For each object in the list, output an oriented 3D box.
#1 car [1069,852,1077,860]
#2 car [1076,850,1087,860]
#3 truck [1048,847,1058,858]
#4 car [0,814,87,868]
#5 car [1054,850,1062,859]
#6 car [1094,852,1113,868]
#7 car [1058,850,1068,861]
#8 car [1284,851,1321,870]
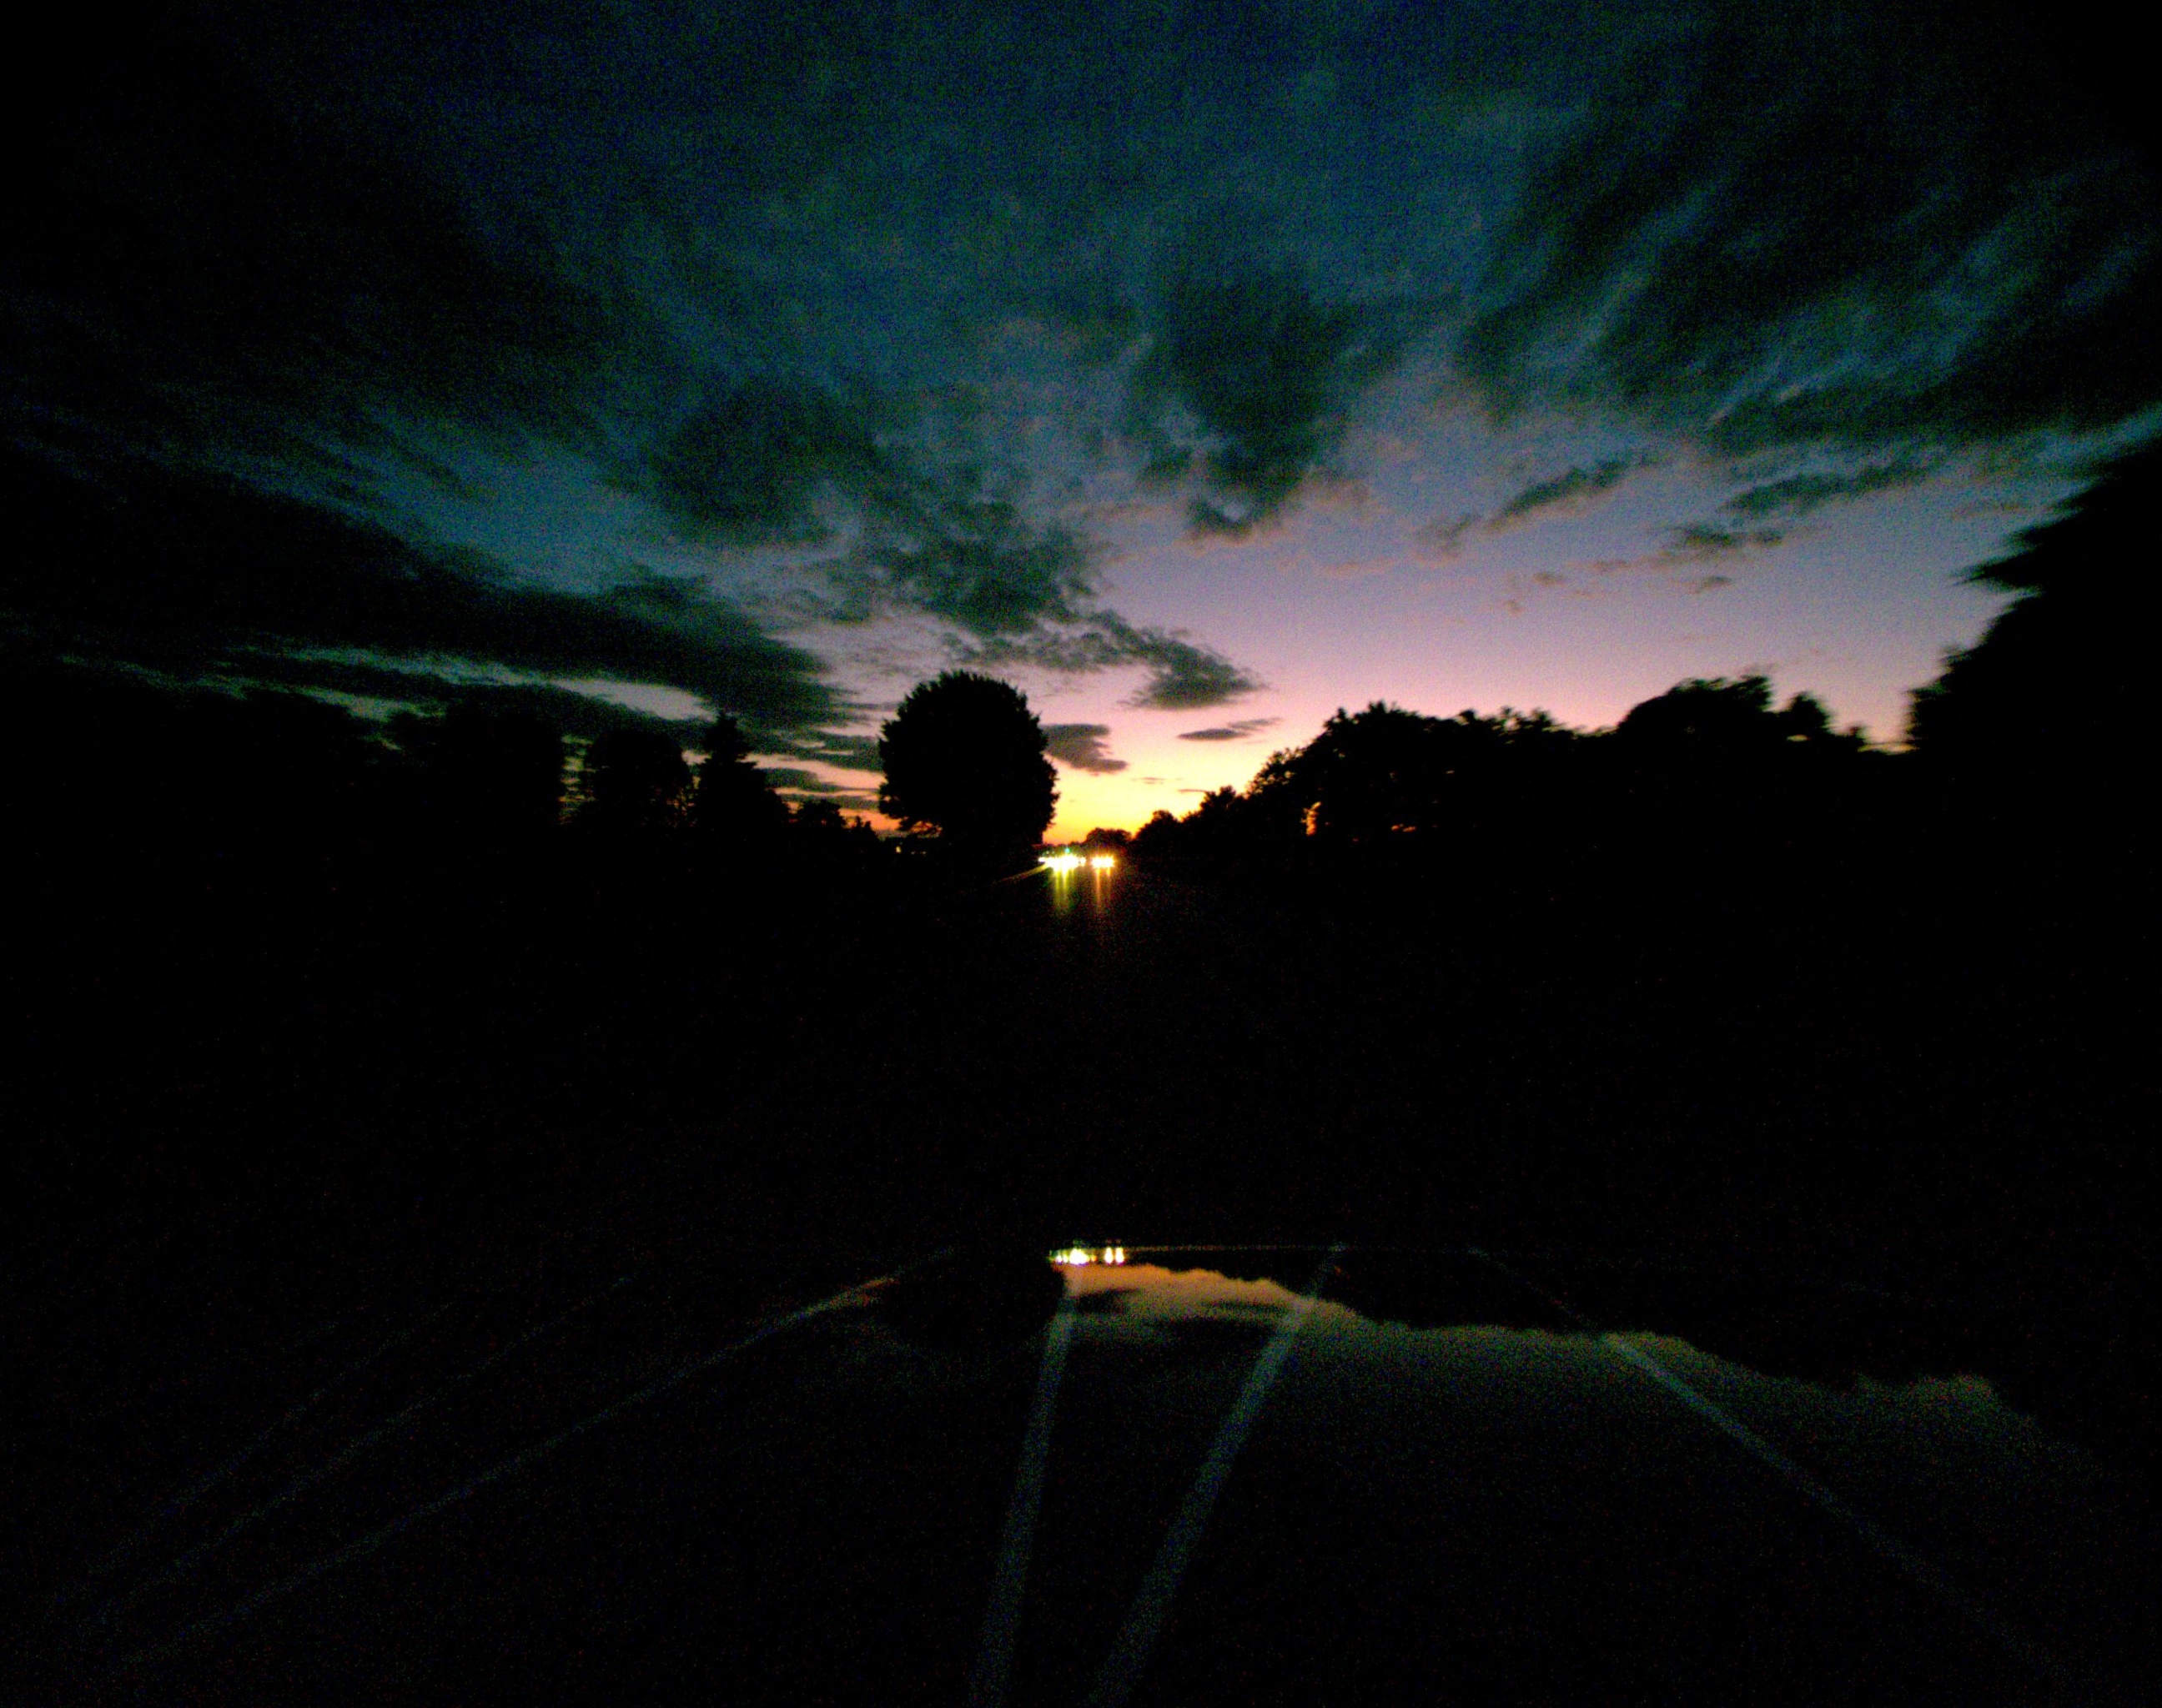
[{"bbox_3d":[-1.940,0.509,190.890,1.999,2.002,3.999,-2,0,0],"label":"car"},{"bbox_3d":[0.109,0.218,147.936,1.999,1.778,3.998,-2,0,-3],"label":"car"},{"bbox_3d":[-9.585,-0.438,259.083,3.016,3.674,9.056,-2,0,-2],"label":"truck"},{"bbox_3d":[-43.969,-0.530,30.766,2.001,2.139,4.574,1,0,-12],"label":"car"},{"bbox_3d":[-5.676,0.109,187.078,1.999,2.002,3.999,-2,0,-2],"label":"car"},{"bbox_3d":[2.442,0.660,84.163,1.998,1.635,4.296,-2,0,0],"label":"car"},{"bbox_3d":[-3.249,0.286,139.588,1.741,2.002,4.000,-2,0,-1],"label":"car"},{"bbox_3d":[16.683,0.495,57.359,1.633,1.315,3.940,-2,0,1],"label":"car"}]
